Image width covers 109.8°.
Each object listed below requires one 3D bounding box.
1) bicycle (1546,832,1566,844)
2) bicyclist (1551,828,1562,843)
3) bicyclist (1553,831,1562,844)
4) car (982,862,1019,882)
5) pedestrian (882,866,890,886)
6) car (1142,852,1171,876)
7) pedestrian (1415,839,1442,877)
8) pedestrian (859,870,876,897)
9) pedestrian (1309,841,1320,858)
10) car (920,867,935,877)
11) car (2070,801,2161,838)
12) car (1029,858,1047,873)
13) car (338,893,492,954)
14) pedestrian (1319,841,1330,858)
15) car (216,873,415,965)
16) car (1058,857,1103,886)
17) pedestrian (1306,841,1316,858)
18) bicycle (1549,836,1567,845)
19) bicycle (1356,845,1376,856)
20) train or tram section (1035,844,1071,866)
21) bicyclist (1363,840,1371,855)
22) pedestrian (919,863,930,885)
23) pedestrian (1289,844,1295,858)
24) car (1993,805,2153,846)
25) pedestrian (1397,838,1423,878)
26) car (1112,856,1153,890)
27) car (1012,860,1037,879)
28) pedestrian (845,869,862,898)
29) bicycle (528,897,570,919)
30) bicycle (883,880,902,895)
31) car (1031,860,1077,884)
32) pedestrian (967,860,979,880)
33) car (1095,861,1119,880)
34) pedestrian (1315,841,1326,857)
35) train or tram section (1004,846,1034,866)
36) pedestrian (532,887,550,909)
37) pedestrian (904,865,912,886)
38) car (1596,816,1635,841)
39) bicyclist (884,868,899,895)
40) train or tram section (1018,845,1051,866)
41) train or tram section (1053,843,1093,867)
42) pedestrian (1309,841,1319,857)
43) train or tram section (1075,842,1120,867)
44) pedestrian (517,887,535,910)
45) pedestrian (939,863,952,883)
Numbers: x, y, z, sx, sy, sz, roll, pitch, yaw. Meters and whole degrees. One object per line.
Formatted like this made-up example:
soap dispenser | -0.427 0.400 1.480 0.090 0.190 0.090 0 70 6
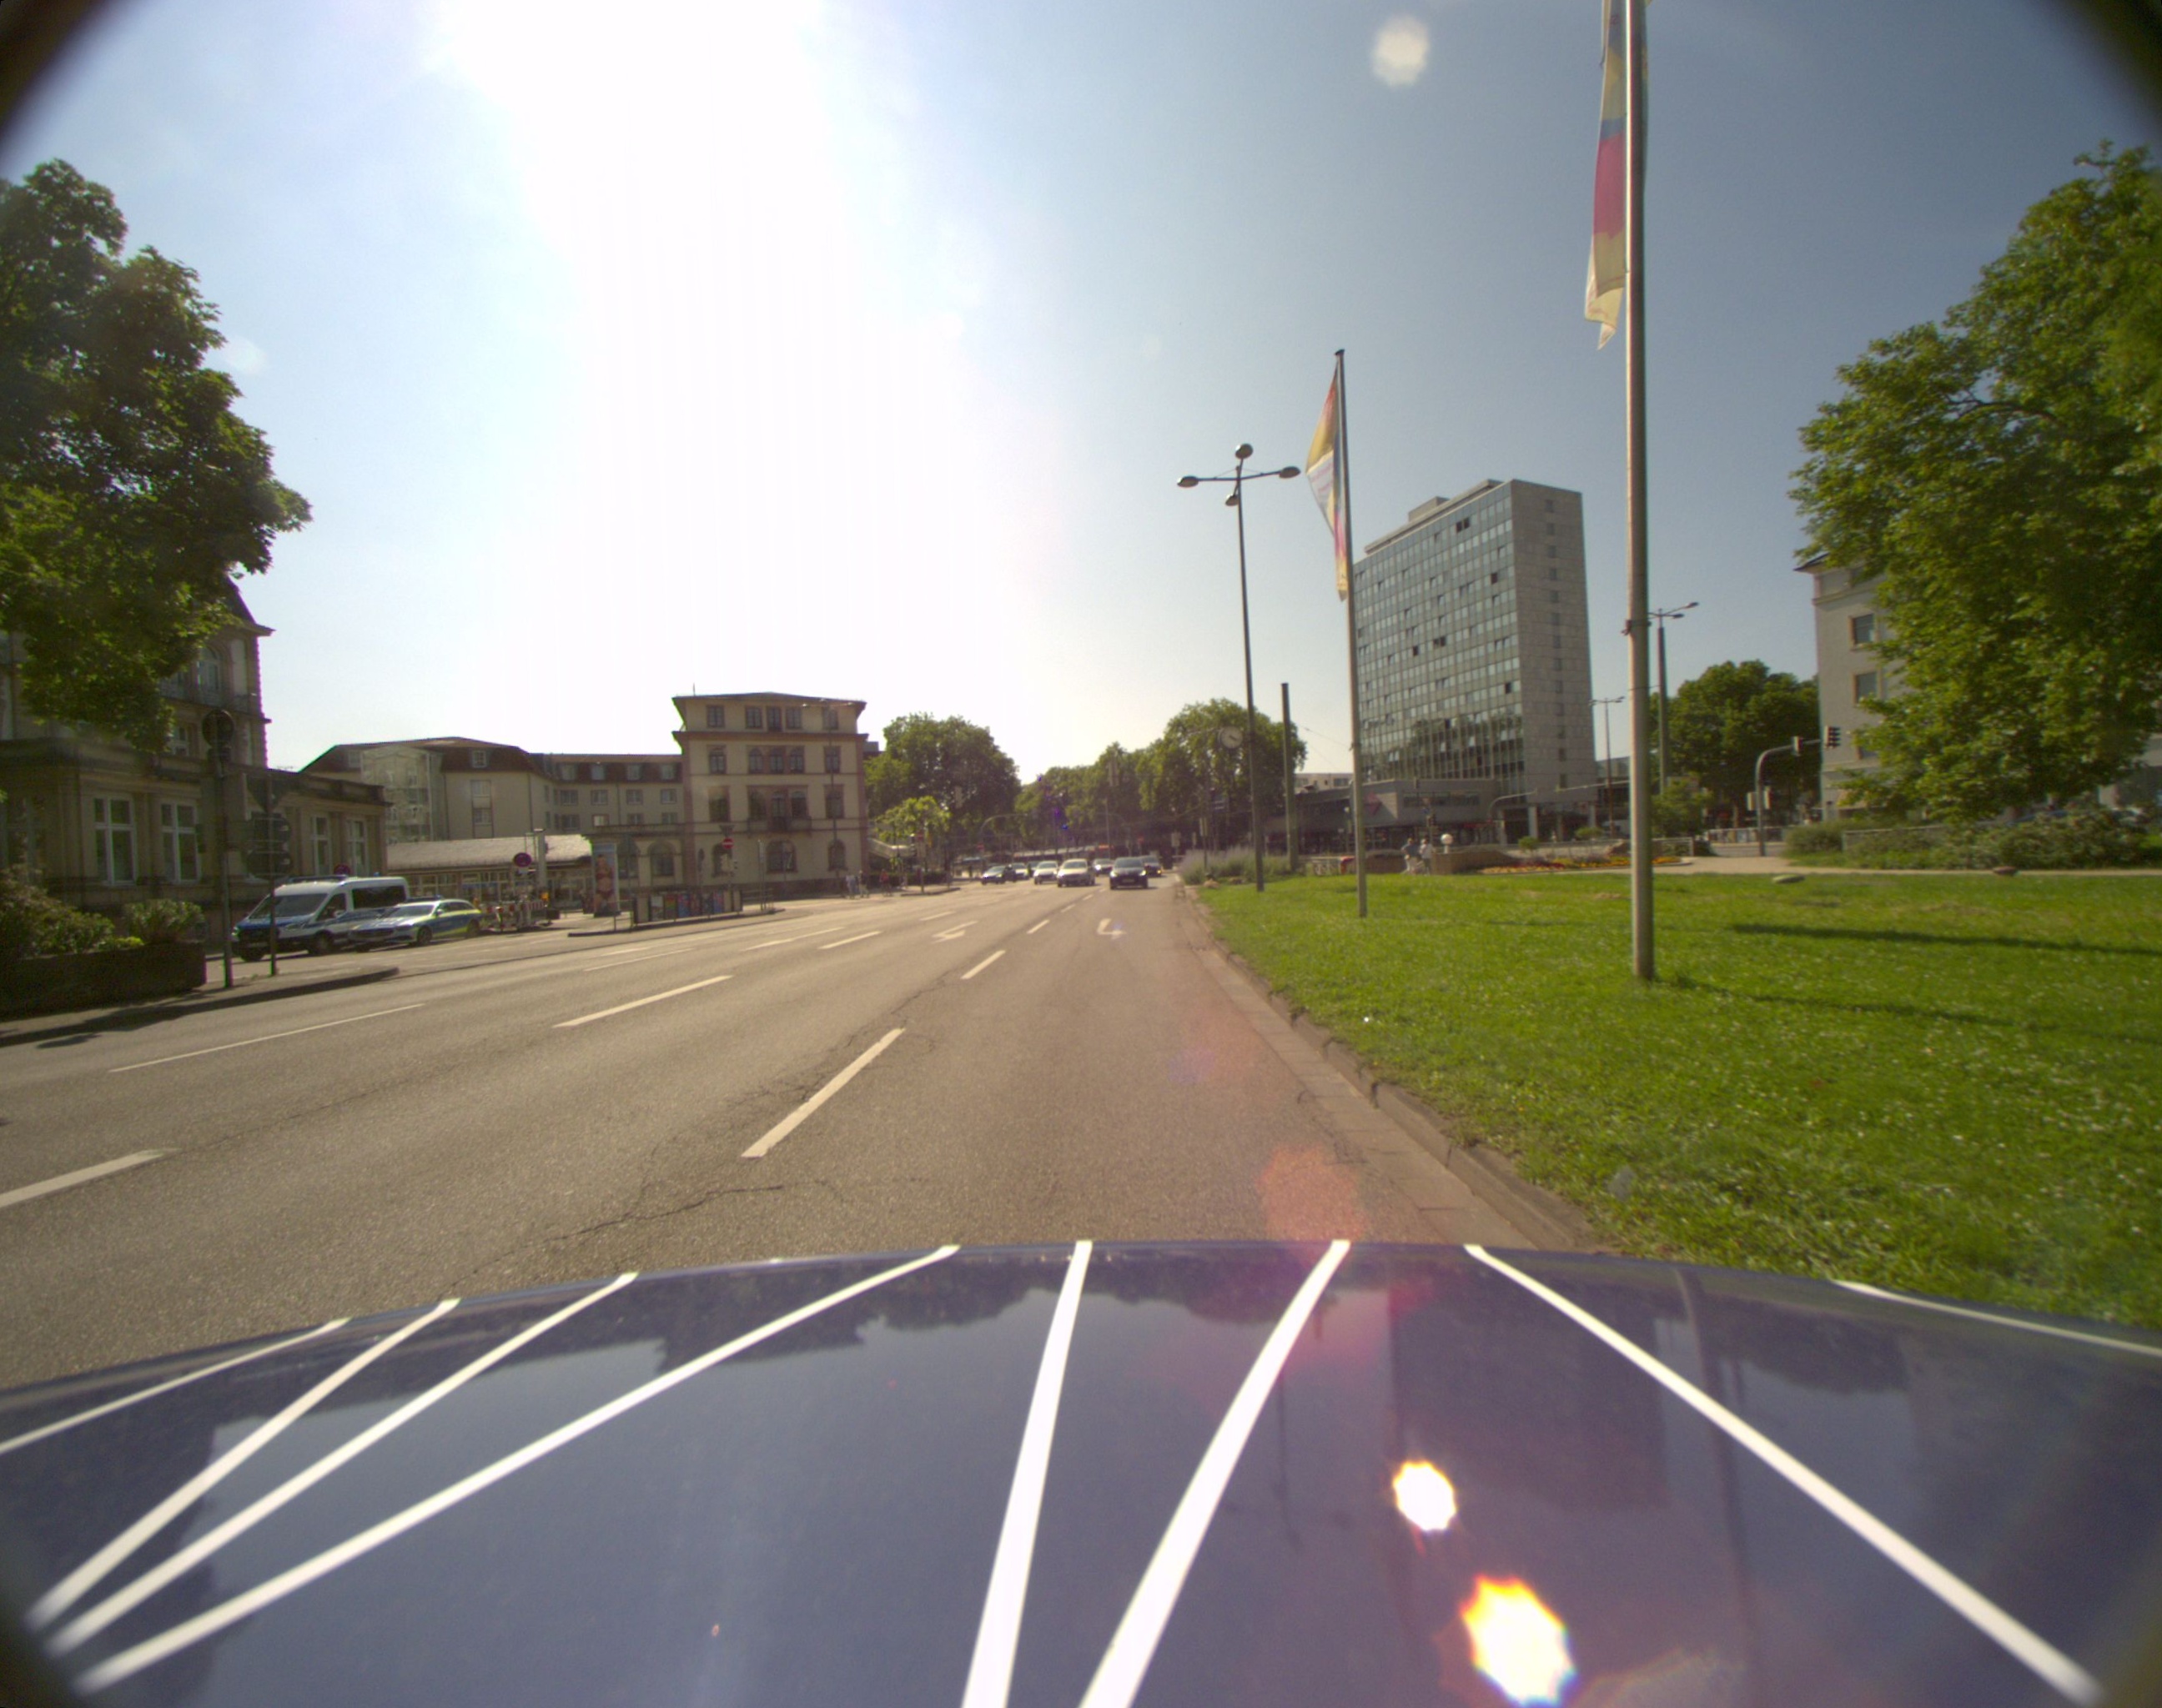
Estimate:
bicycle | 55.040 -1.852 88.009 1.939 1.292 0.716 -3 2 -6
bicyclist | 55.075 -2.118 88.009 0.684 1.758 0.696 -3 2 -5
bicyclist | 54.000 -1.874 86.113 0.684 1.518 0.582 -3 2 -12
car | -6.347 1.439 60.513 1.789 1.443 3.977 -2 0 11
pedestrian | -16.372 1.852 63.832 0.535 1.639 0.673 -3 0 -19
car | 5.102 0.663 51.948 1.790 1.484 4.089 -2 0 3
pedestrian | 14.312 0.161 31.290 0.851 1.501 0.475 -3 0 -10
pedestrian | -13.245 1.833 47.143 0.773 1.563 0.829 -3 0 -2
pedestrian | 25.954 -0.467 84.527 0.824 1.825 0.670 -3 1 -24
car | -20.780 2.445 102.765 1.592 1.314 3.574 -3 0 -18
car | 45.324 -1.498 32.482 1.519 1.456 3.403 -3 0 -23
car | -4.497 1.217 79.830 1.791 1.443 3.972 -2 0 -4
car | -22.630 2.286 26.133 1.823 1.617 4.874 -3 0 -13
pedestrian | 27.368 -0.526 85.336 0.824 1.825 0.670 -3 1 -23
car | -25.299 2.006 25.479 2.000 2.588 5.313 -4 0 -12
car | 0.016 0.942 42.112 1.718 1.491 4.494 -2 -1 10
pedestrian | 26.250 -0.504 86.855 0.824 1.825 0.670 -3 1 -24
bicycle | 54.033 -1.551 86.128 1.811 0.878 0.592 -3 2 -12
bicycle | 32.544 -0.419 86.771 1.967 1.096 0.577 -3 0 2
train or tram section | -4.688 0.282 123.396 2.738 3.248 8.722 -3 0 -23
bicyclist | 32.666 -0.705 86.759 0.683 1.677 0.584 -3 0 3
pedestrian | -13.250 1.661 64.315 0.726 1.795 0.652 -3 0 -16
pedestrian | 24.570 -0.324 88.513 0.565 1.628 0.600 -2 1 1
car | 39.490 -1.106 30.359 1.613 1.338 3.579 -3 0 -23
pedestrian | 13.538 0.168 31.297 0.692 1.584 0.599 -3 0 -10
car | 2.453 0.865 36.188 1.790 1.443 4.282 -2 0 4
car | -4.985 1.370 67.467 1.790 1.521 3.974 -2 0 2
pedestrian | -13.858 1.791 46.367 0.753 1.650 0.829 -3 0 -4
bicycle | -29.286 2.961 41.845 1.820 1.093 0.504 -2 0 -5
bicycle | -11.659 2.076 47.002 0.593 0.850 1.745 -3 0 3
car | -1.785 1.174 51.307 1.788 1.443 3.979 -2 0 19
pedestrian | -9.946 1.481 70.033 0.590 1.834 0.730 -3 1 45
car | 2.150 1.352 63.316 1.791 1.514 3.973 -2 0 -1
pedestrian | 27.089 -0.540 86.015 0.824 1.825 0.733 -3 1 -23
train or tram section | -11.502 0.443 139.512 2.738 3.248 8.722 -3 0 -23
pedestrian | -40.512 3.275 57.019 0.724 1.594 0.719 -3 0 0
pedestrian | -14.331 1.769 62.866 0.535 1.639 0.579 -3 0 -19
car | 66.859 -3.233 95.063 4.641 2.899 1.744 -3 0 -25
bicyclist | -11.682 1.693 46.882 0.593 1.597 0.684 -3 0 3
train or tram section | -8.090 0.362 131.435 2.738 3.248 8.722 -3 0 -23
train or tram section | -1.261 0.200 115.367 2.738 3.248 8.722 -3 0 -23
pedestrian | 27.132 -0.548 88.541 0.824 1.796 0.670 -3 1 -14
train or tram section | 2.245 0.118 107.102 2.738 3.248 8.722 -3 0 -23
pedestrian | -40.910 3.298 56.017 0.724 1.594 0.719 -3 0 -2
pedestrian | -11.491 1.625 64.492 0.845 1.685 0.743 -3 0 -24
